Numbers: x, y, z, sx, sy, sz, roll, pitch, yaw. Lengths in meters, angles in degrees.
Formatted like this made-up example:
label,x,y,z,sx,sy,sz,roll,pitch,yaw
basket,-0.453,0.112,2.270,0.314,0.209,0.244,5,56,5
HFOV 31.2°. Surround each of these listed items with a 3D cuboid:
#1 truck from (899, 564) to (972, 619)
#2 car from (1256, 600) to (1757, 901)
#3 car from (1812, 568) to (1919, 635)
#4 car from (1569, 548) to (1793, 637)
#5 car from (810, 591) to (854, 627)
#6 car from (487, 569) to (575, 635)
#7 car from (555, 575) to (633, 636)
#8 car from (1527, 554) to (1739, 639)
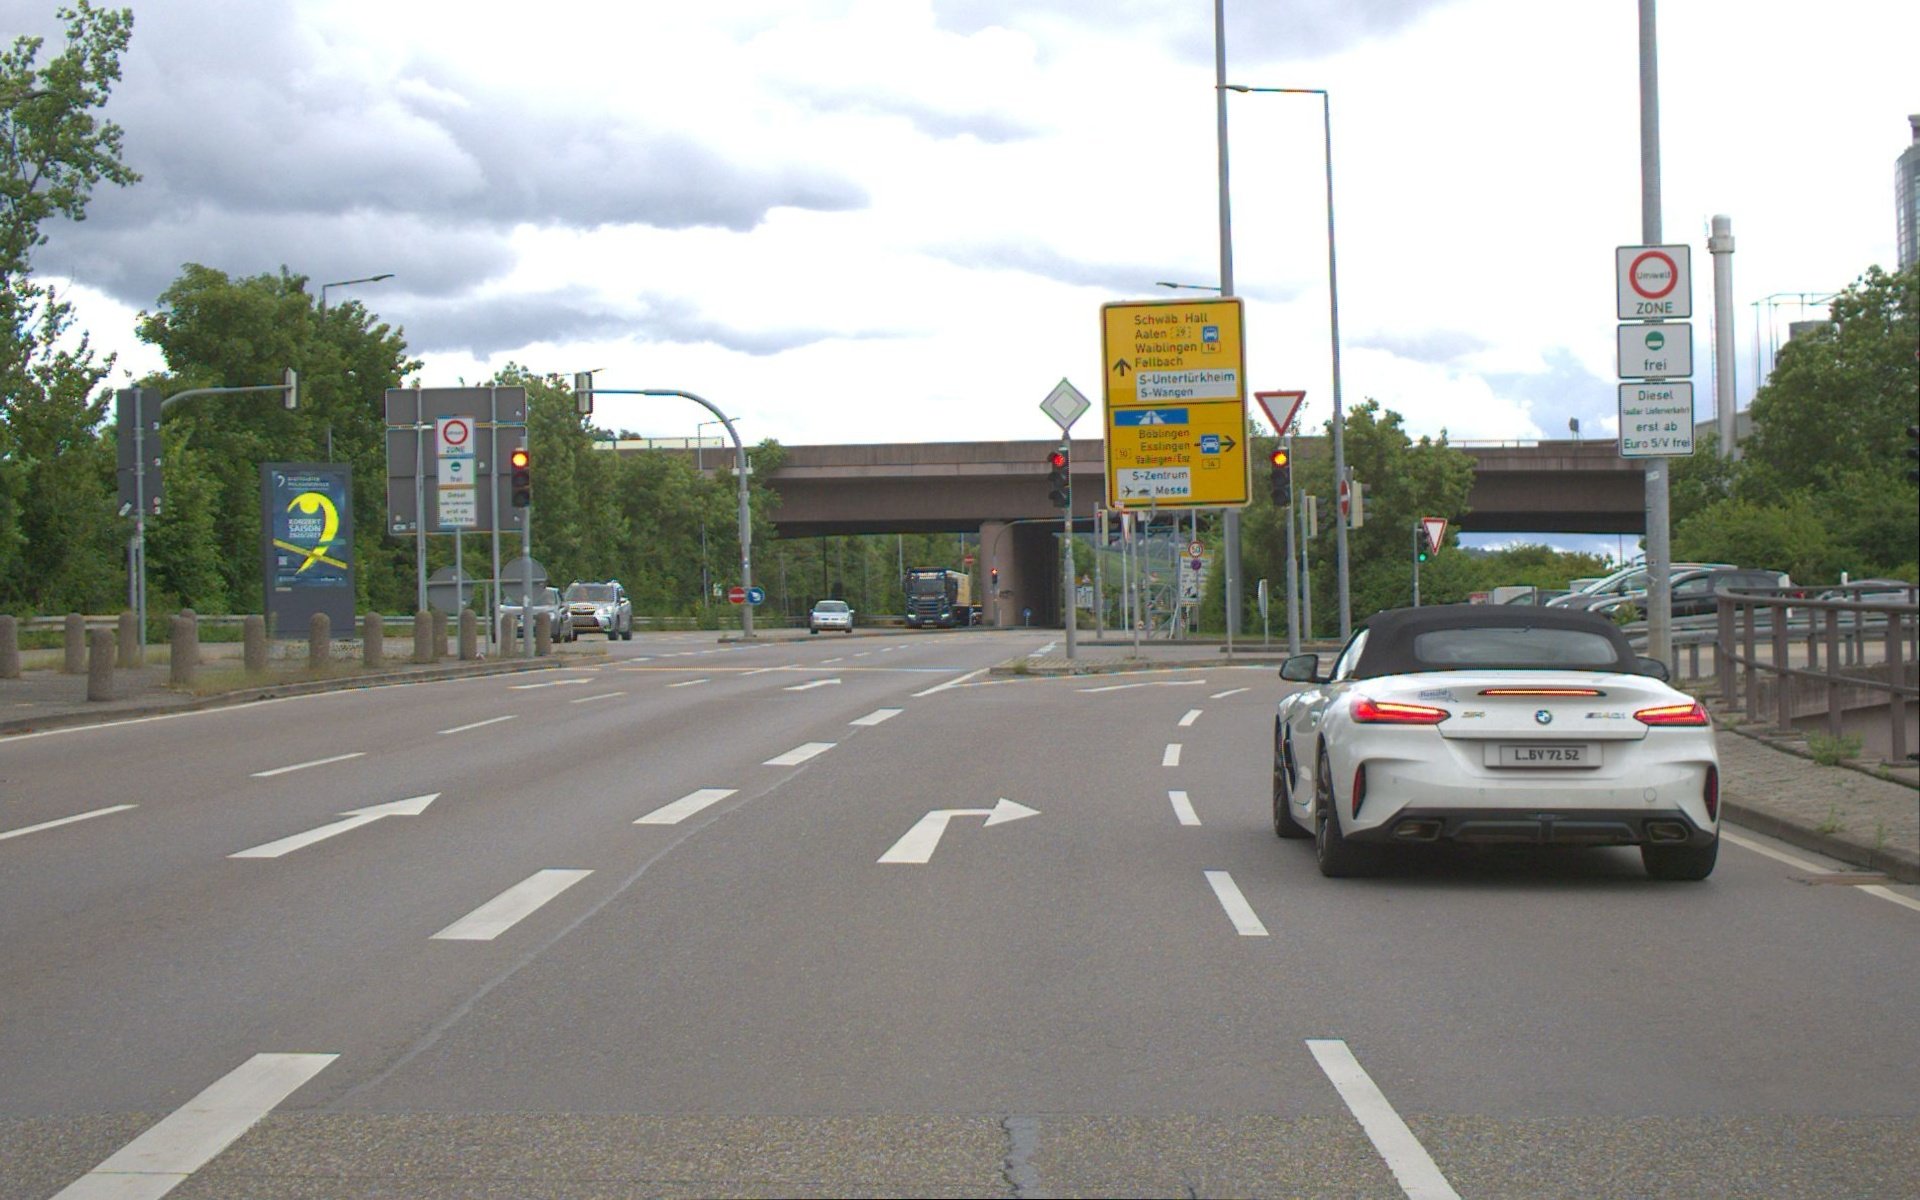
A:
label,x,y,z,sx,sy,sz,roll,pitch,yaw
truck,-1.393,-0.485,203.434,2.924,3.135,10.108,1,0,8
car,2.618,0.678,17.364,1.875,1.305,3.873,0,1,-1
car,23.267,0.026,84.102,4.372,1.565,2.000,-1,-1,4
car,15.266,-0.150,73.015,4.372,1.752,2.000,-1,-1,4
car,-5.586,0.385,150.402,1.741,1.532,3.672,0,1,0
car,-10.953,0.041,87.981,1.771,1.639,3.825,1,0,0
car,-10.218,0.134,96.188,1.771,1.627,3.825,1,0,0
car,14.998,-0.059,76.779,4.372,1.752,2.000,-1,-1,4
